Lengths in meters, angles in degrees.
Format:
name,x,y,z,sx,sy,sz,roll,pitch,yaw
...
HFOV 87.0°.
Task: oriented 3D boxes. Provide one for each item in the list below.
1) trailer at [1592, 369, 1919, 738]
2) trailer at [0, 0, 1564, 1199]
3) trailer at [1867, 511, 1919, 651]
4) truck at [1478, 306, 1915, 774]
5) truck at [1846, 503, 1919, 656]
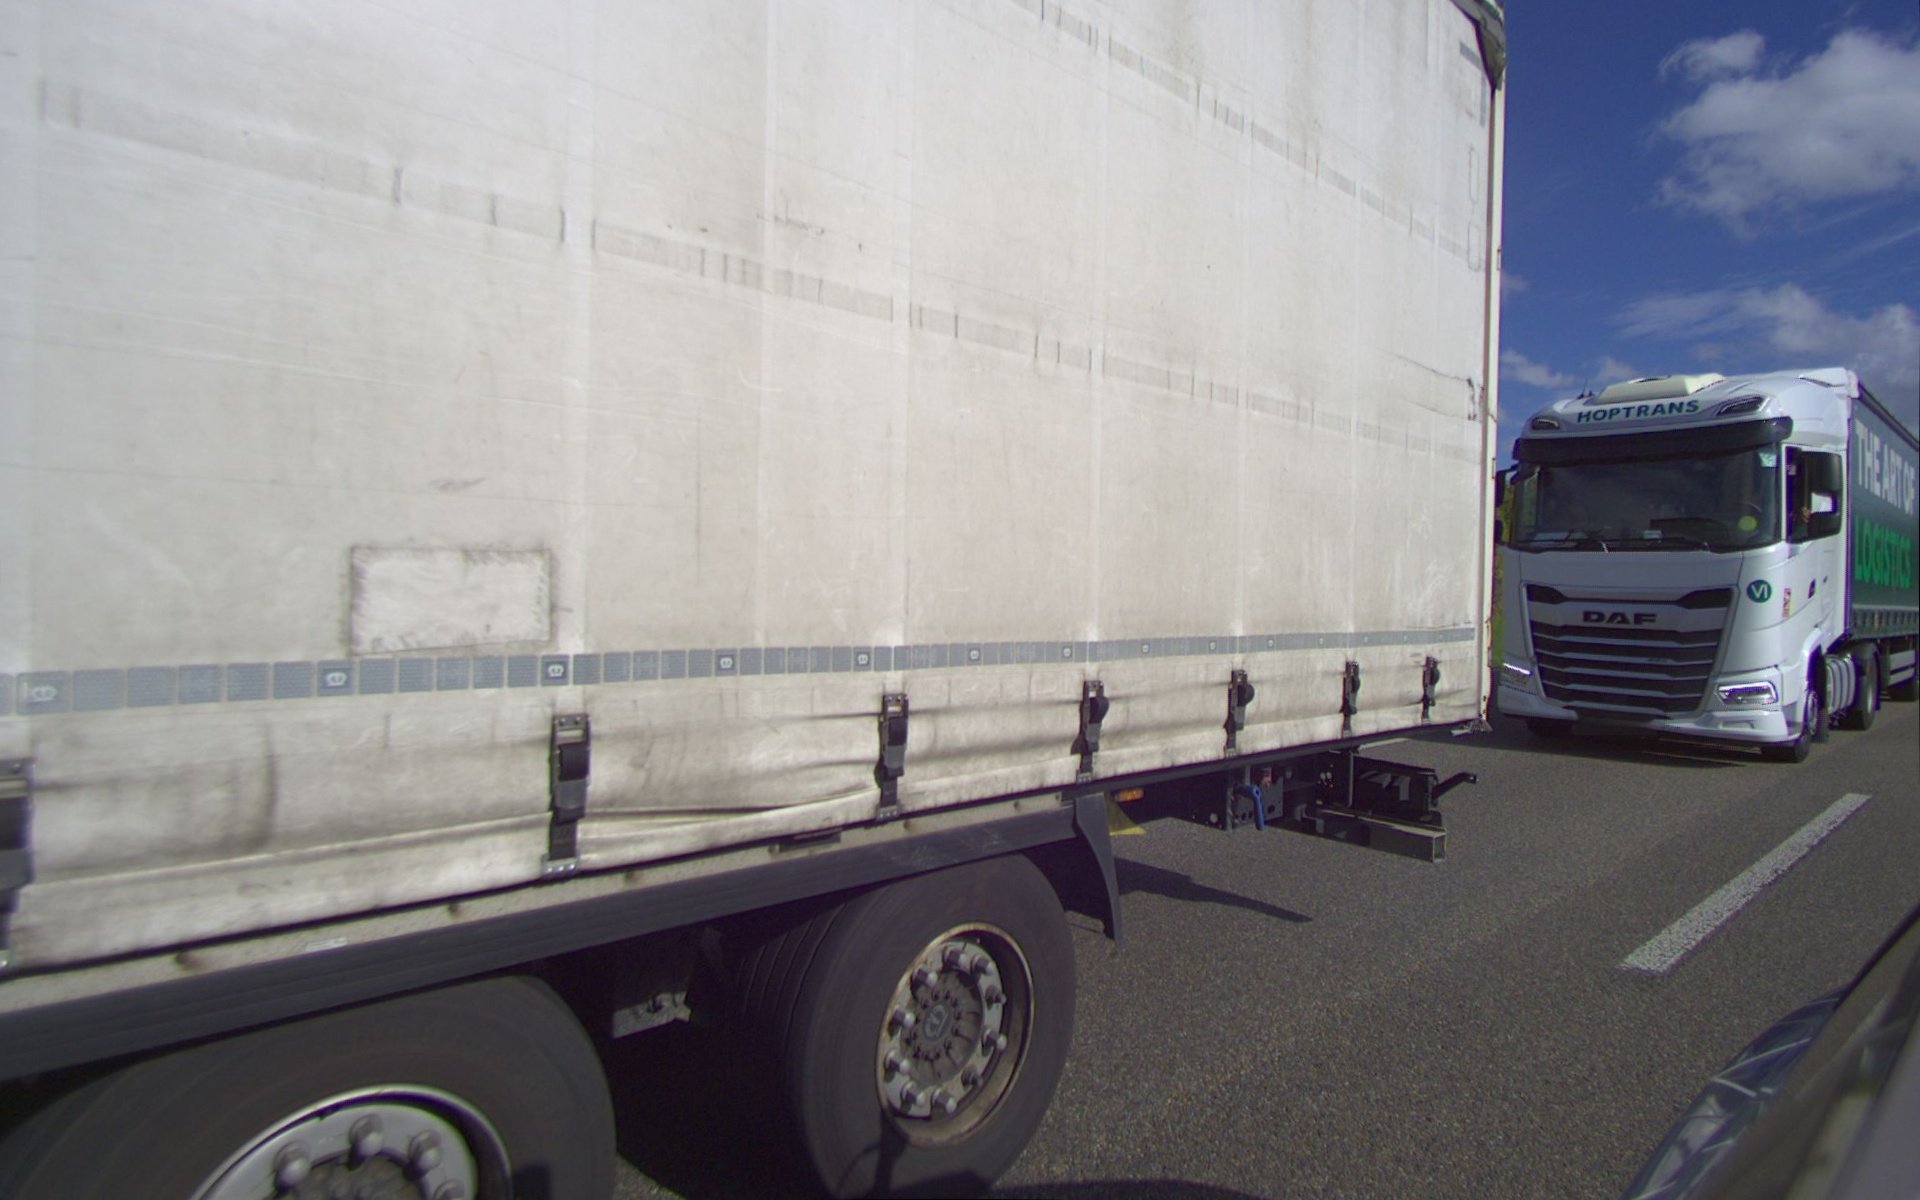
name,x,y,z,sx,sy,sz,roll,pitch,yaw
trailer,13.790,-0.539,16.089,13.161,3.917,2.666,0,0,-41
trailer,-3.118,-0.732,1.151,12.718,4.133,2.708,0,1,-41
trailer,32.431,-0.579,32.816,12.839,3.989,2.796,0,-1,-41
truck,8.813,-0.529,11.740,6.874,3.918,2.651,0,0,-41
truck,27.125,-0.548,28.244,5.724,3.989,2.806,0,-1,-41
